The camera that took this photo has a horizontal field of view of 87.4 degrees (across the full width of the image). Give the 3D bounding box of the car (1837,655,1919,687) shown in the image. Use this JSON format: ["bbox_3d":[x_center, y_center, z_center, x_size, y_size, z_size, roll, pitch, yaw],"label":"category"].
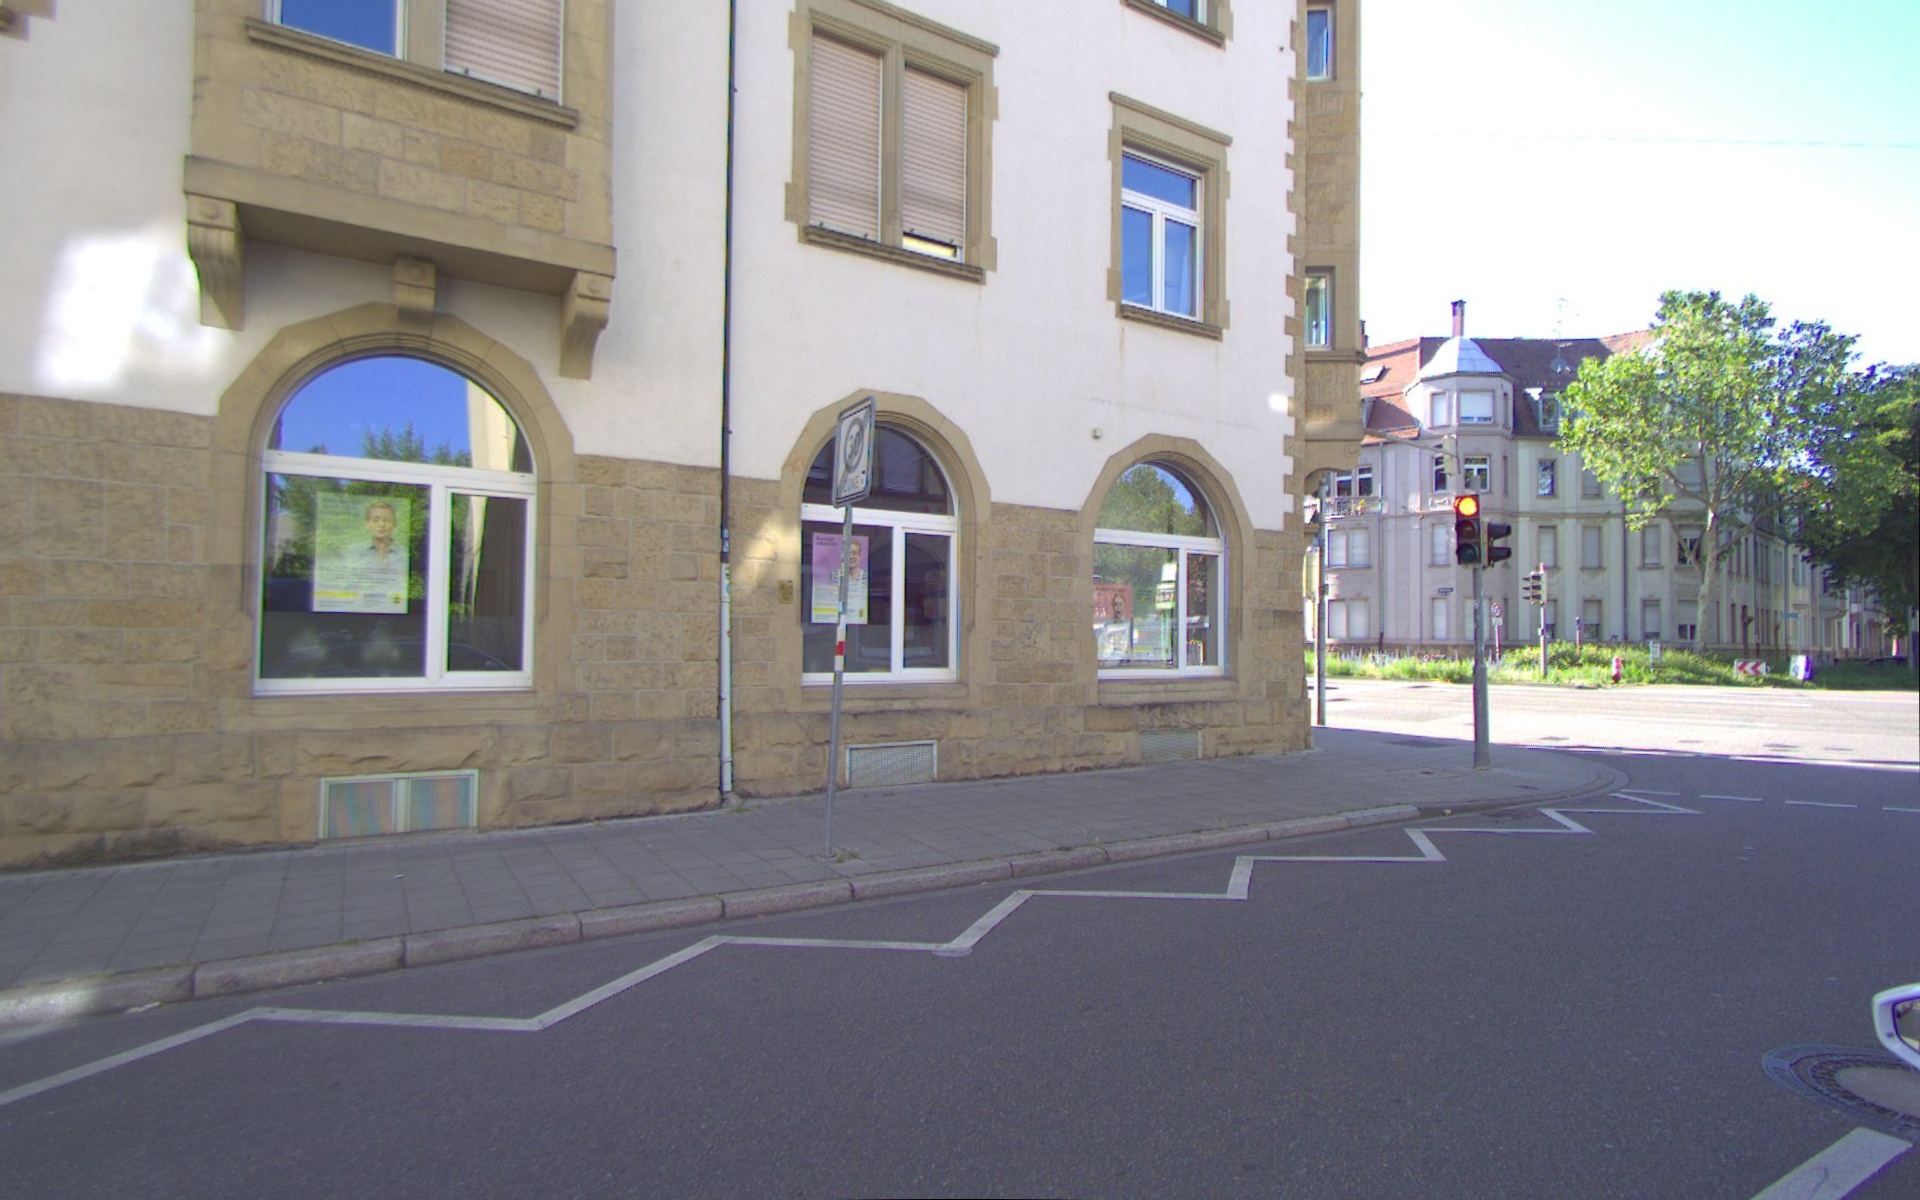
[{"bbox_3d":[46.252,3.505,49.961,3.943,1.505,1.673,-2,-3,42],"label":"car"}]

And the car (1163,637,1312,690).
[{"bbox_3d":[8.359,1.875,30.394,3.944,1.336,1.812,2,-1,43],"label":"car"}]
